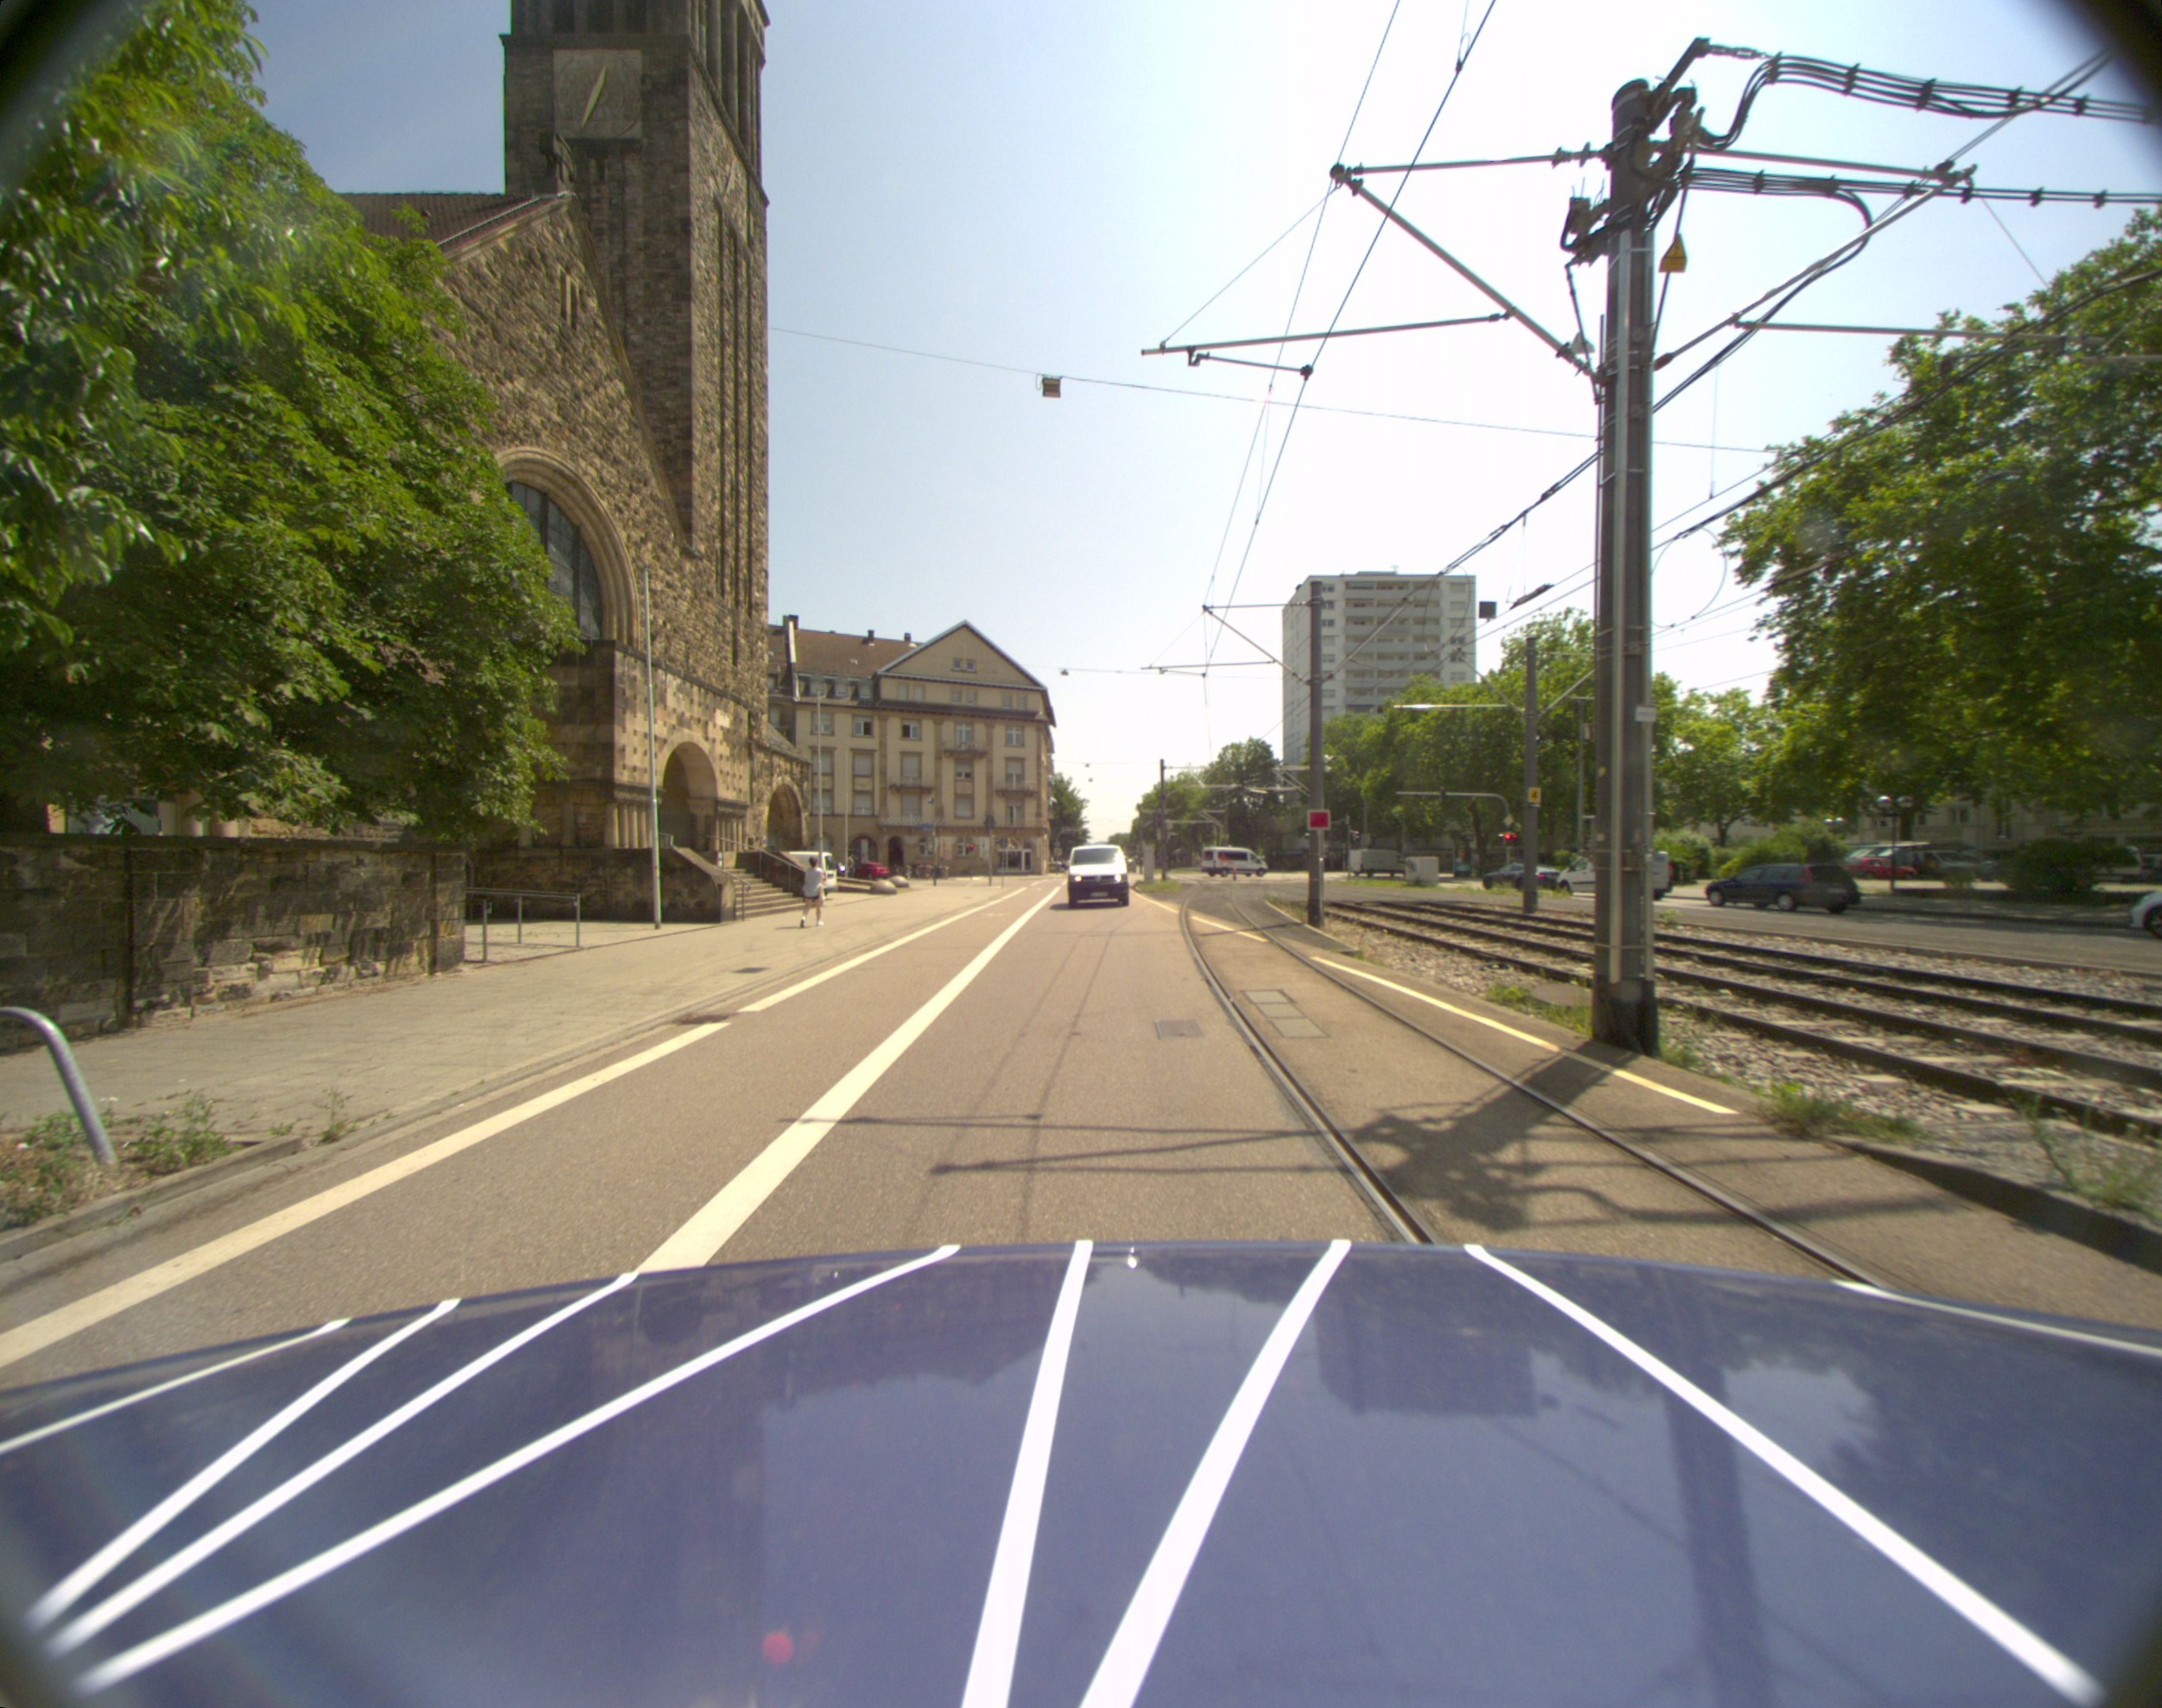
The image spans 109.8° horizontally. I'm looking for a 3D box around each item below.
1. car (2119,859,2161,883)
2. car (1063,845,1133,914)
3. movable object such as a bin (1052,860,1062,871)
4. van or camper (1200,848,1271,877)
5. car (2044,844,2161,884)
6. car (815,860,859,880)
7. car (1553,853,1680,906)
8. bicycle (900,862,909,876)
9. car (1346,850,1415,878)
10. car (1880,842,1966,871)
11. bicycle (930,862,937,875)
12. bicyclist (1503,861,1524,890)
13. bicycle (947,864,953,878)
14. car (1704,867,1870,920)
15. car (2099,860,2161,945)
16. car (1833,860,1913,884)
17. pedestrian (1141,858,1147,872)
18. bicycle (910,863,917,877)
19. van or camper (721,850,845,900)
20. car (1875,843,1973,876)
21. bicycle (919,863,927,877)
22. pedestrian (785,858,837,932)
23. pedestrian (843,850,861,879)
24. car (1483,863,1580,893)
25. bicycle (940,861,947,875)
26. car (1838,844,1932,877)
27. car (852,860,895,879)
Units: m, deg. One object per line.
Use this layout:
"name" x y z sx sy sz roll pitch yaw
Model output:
"car" 68.733 1.056 48.153 3.705 1.401 1.622 -1 0 0
"car" 0.657 0.726 24.017 1.851 1.942 4.945 0 0 5
"movable object such as a bin" -3.157 1.475 100.040 1.214 1.427 1.008 -1 0 -4
"van or camper" 13.292 0.732 65.278 5.909 2.447 2.070 0 0 -23
"car" 70.304 0.671 52.164 5.706 2.644 2.108 -1 0 0
"car" -20.085 1.313 62.614 3.218 1.471 1.619 1 3 27
"car" 21.762 0.976 31.148 1.781 1.979 4.804 0 0 -1
"bicycle" -15.164 1.309 65.106 0.566 1.145 1.802 -1 1 -19
"car" 28.817 0.893 73.003 6.642 2.621 2.073 0 0 -24
"car" 62.243 0.178 56.278 1.998 2.071 4.000 0 0 0
"bicycle" -13.152 1.279 67.544 0.565 1.145 1.803 -1 1 -10
"bicyclist" 24.648 1.218 43.313 0.640 1.676 0.868 -1 0 -3
"bicycle" -11.493 1.449 66.616 0.565 1.145 2.058 -1 1 -10
"car" 21.675 1.155 23.541 1.600 1.412 3.782 1 0 0
"car" 21.478 0.938 13.050 1.851 1.616 4.603 1 0 1
"car" 48.627 1.110 46.683 3.342 1.375 1.472 -1 0 0
"pedestrian" 7.305 1.273 87.822 0.679 1.695 0.554 -1 0 3
"bicycle" -14.554 1.401 66.046 0.565 1.145 1.803 -1 1 -10
"van or camper" -11.437 0.826 29.335 3.997 1.814 1.803 1 -2 -1
"car" 55.415 0.328 50.051 1.998 2.071 4.000 0 0 0
"bicycle" -13.897 1.393 66.920 0.565 1.145 1.803 -1 1 -10
"pedestrian" -6.242 0.927 17.596 0.795 1.641 0.967 -1 0 2
"pedestrian" -14.384 0.645 47.686 0.744 1.812 0.834 -1 0 8
"car" 21.914 1.138 37.224 1.952 1.351 4.628 0 -1 -1
"bicycle" -12.284 1.265 67.798 0.565 1.145 1.803 -1 1 -10
"car" 52.793 0.404 50.014 1.998 2.071 4.000 0 0 0
"car" -17.383 1.291 63.587 3.218 1.471 1.619 1 3 27
